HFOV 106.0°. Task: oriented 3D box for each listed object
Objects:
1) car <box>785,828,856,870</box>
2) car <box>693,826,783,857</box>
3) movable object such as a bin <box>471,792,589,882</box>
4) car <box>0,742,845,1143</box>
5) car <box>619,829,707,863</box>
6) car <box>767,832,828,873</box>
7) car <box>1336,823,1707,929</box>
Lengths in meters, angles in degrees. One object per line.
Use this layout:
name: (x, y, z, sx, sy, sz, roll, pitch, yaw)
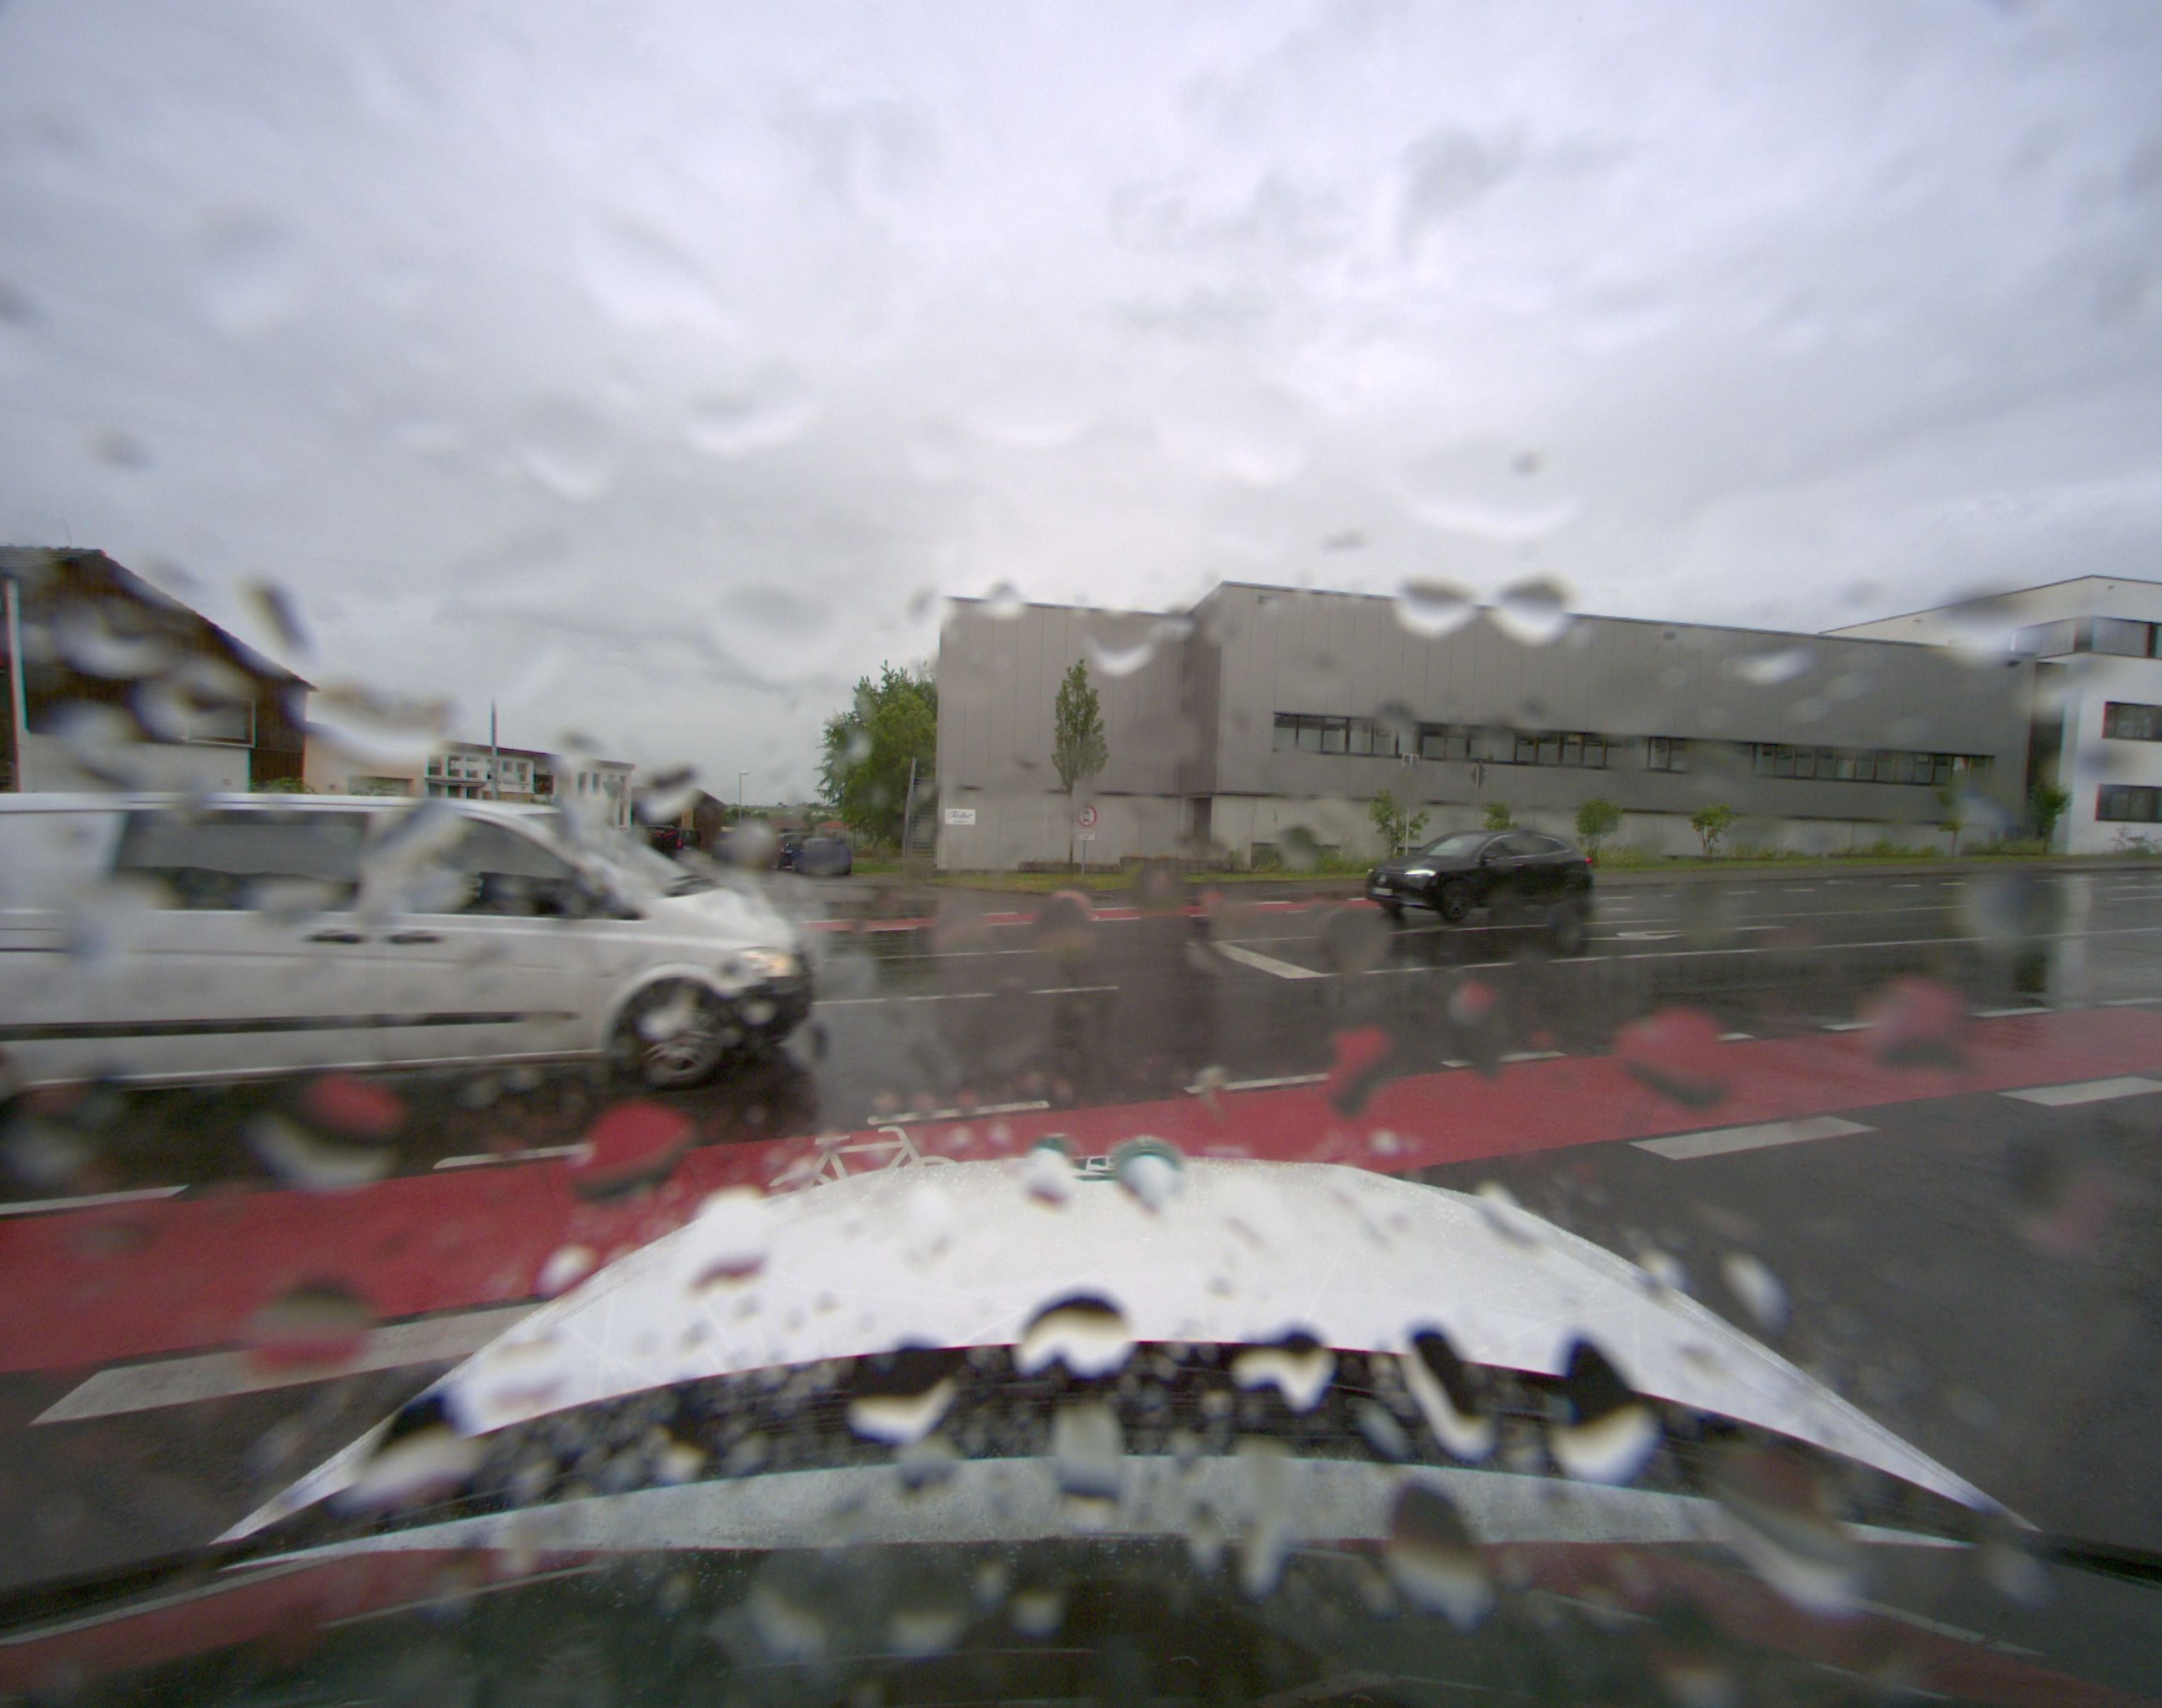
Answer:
car: (-10.784, -0.212, 33.551, 1.963, 1.610, 4.405, 0, 0, -29)
car: (-27.158, -1.017, 64.665, 5.996, 2.415, 2.460, 0, 0, -4)
movable object such as a bin: (-16.751, -0.487, 24.948, 1.732, 2.556, 3.329, 0, 0, -9)
car: (-4.379, 0.426, 5.432, 5.368, 2.018, 1.894, 0, 1, -18)
car: (-24.224, -0.456, 47.201, 4.360, 1.905, 2.010, 0, 0, 18)
car: (-13.647, -0.077, 39.064, 2.086, 1.835, 4.430, 0, 0, -28)
car: (8.692, 0.344, 16.114, 6.871, 1.815, 2.348, 0, 1, -17)
